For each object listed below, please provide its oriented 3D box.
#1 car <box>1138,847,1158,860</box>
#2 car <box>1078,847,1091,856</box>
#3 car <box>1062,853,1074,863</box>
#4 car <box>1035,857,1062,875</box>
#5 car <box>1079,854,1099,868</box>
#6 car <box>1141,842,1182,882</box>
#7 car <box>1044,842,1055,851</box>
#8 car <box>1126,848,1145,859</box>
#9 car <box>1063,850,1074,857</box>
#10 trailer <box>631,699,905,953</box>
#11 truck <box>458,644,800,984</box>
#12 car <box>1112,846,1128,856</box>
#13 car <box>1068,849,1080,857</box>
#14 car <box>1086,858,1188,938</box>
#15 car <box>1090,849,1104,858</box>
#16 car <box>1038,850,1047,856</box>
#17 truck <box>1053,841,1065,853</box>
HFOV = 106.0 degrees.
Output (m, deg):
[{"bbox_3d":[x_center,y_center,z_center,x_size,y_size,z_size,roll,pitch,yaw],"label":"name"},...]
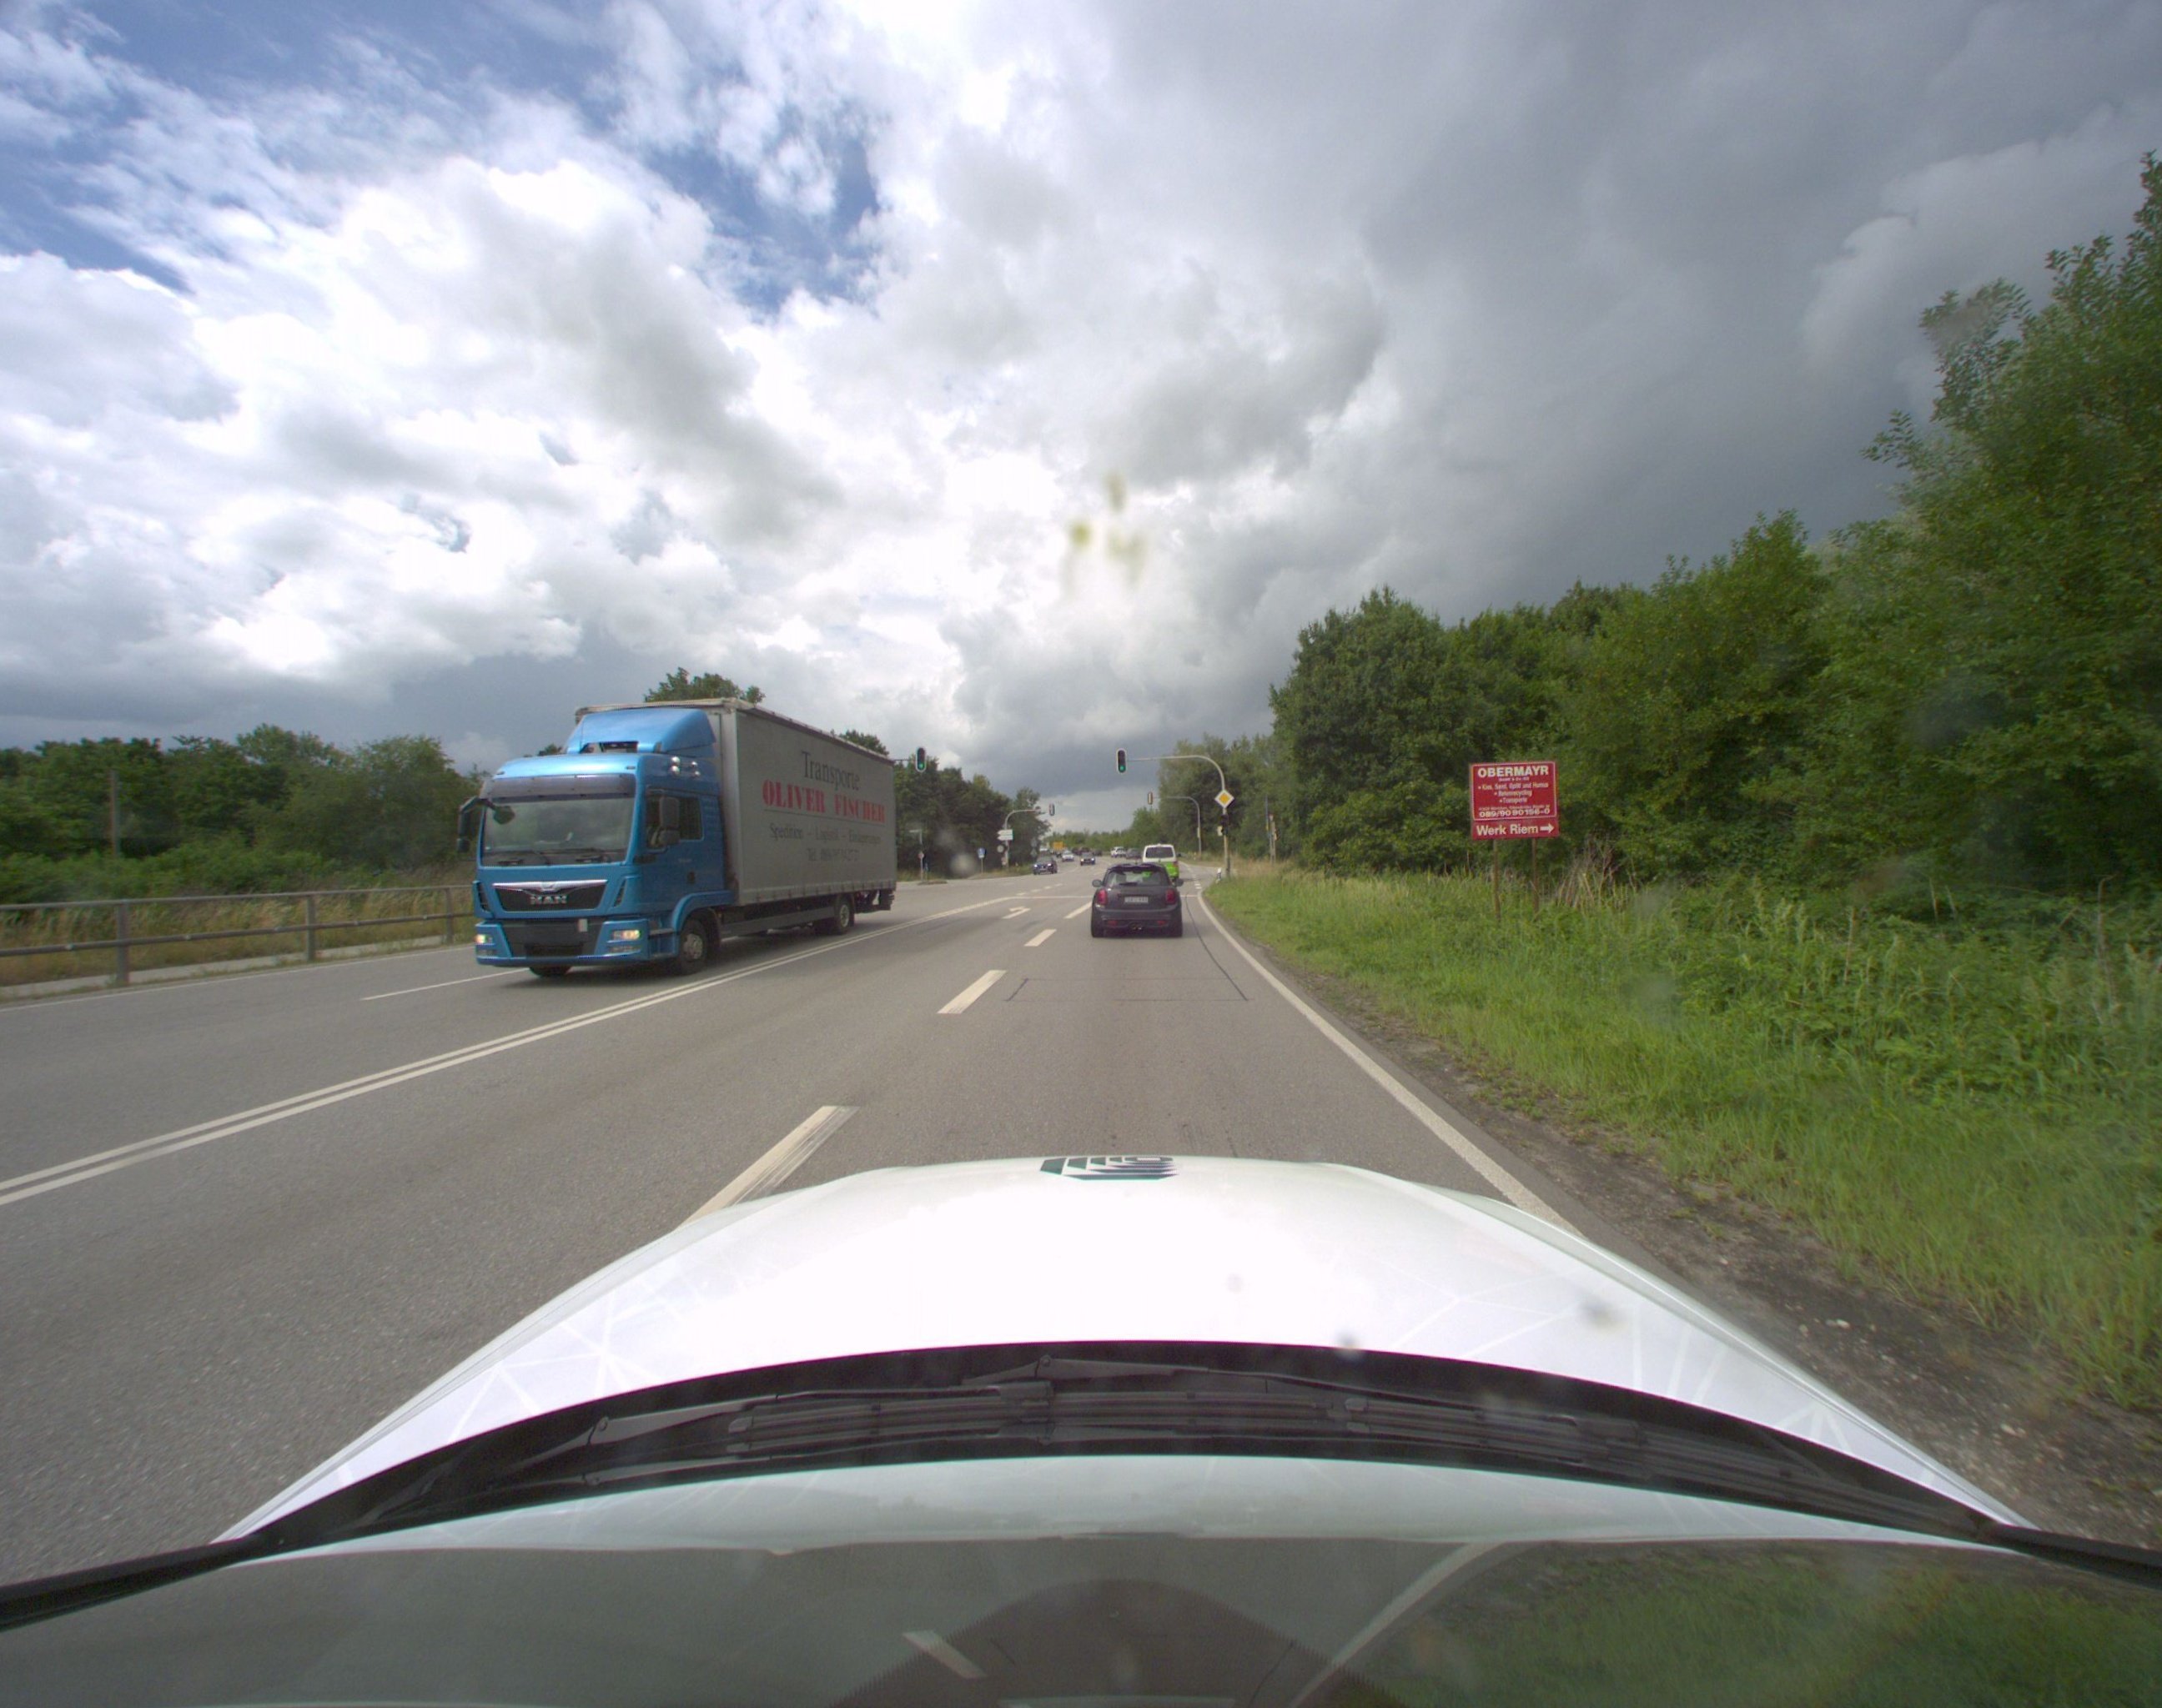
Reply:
[{"bbox_3d":[7.823,-0.028,94.941,1.987,1.476,4.486,-1,0,1],"label":"car"},{"bbox_3d":[0.755,-0.540,163.152,1.992,1.696,4.473,-1,0,-8],"label":"car"},{"bbox_3d":[-1.974,0.631,125.613,1.724,1.504,4.345,-2,0,0],"label":"car"},{"bbox_3d":[-2.895,1.053,73.318,1.782,1.573,4.008,-2,0,7],"label":"car"},{"bbox_3d":[1.057,0.810,100.897,1.778,1.530,4.914,-4,-1,8],"label":"car"},{"bbox_3d":[4.334,0.396,43.496,1.833,1.987,3.853,-1,1,10],"label":"car"},{"bbox_3d":[-6.247,-1.417,161.976,1.991,1.690,3.992,-2,1,-6],"label":"car"},{"bbox_3d":[7.503,-0.044,112.413,1.990,1.476,4.478,-1,0,-5],"label":"car"},{"bbox_3d":[-3.014,-0.129,199.249,1.994,1.787,4.470,-1,0,-10],"label":"car"},{"bbox_3d":[-5.893,-0.438,16.757,2.516,4.101,6.742,-2,0,4],"label":"trailer"},{"bbox_3d":[-6.240,-0.467,11.966,2.528,4.096,4.004,-2,-1,4],"label":"truck"},{"bbox_3d":[6.206,-0.453,130.152,1.990,1.476,4.479,-1,0,-4],"label":"car"},{"bbox_3d":[-1.581,-0.126,179.913,1.994,1.696,4.470,-1,0,-10],"label":"car"},{"bbox_3d":[1.124,0.823,16.778,1.837,1.428,3.844,-1,0,3],"label":"car"},{"bbox_3d":[2.891,-0.083,148.913,1.992,1.696,4.473,-1,0,-8],"label":"car"},{"bbox_3d":[-10.323,-0.295,218.263,1.990,1.613,3.993,-2,1,-5],"label":"car"},{"bbox_3d":[-5.906,-1.889,216.161,2.713,2.898,8.753,-1,-2,-5],"label":"truck"}]
